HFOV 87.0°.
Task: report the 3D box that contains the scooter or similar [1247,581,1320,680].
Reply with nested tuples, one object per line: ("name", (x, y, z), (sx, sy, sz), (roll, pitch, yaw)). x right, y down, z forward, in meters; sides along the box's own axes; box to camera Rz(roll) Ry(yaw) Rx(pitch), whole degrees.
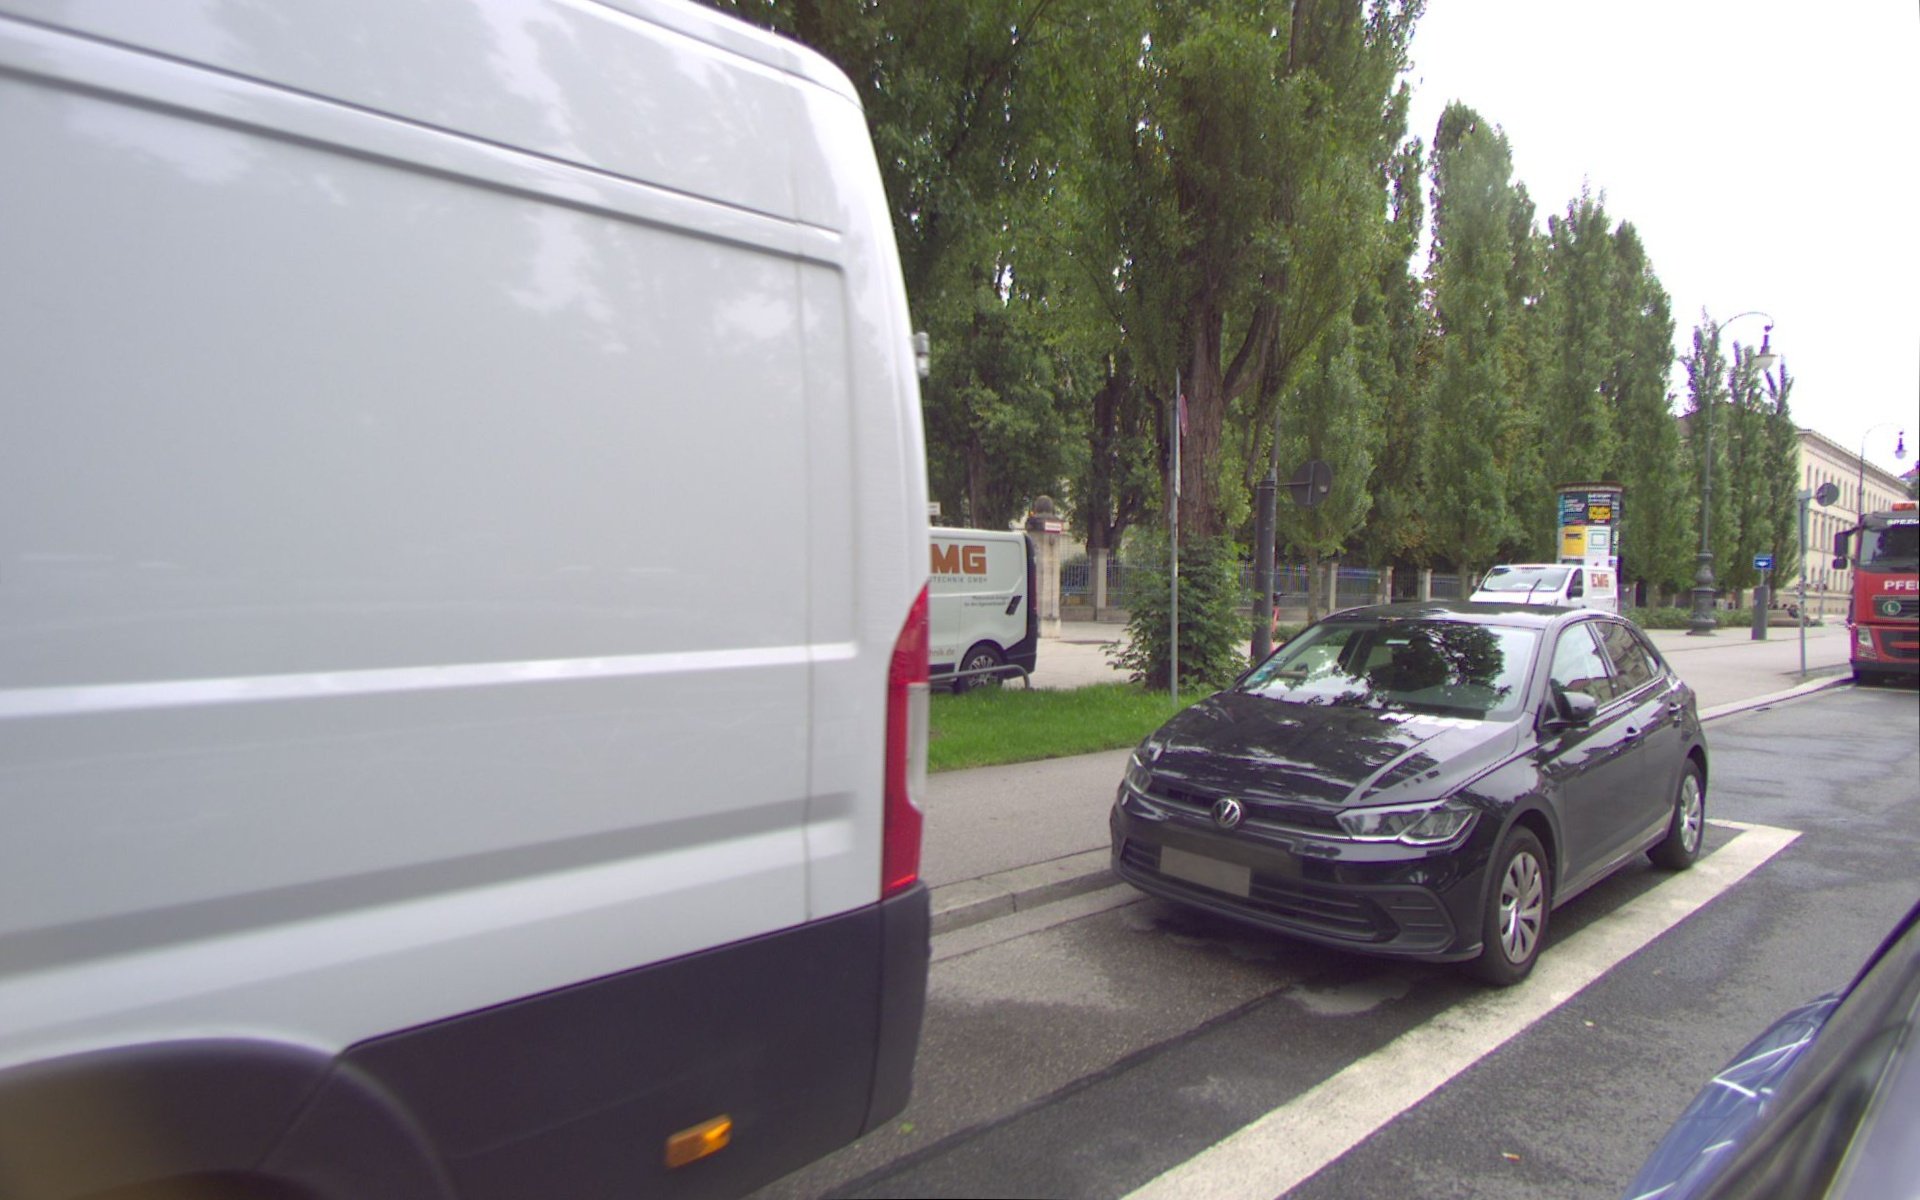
("scooter or similar", (4.360, 0.394, 13.612), (1.164, 1.281, 0.337), (0, 1, -40))

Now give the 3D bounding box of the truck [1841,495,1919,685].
("truck", (20.112, -0.137, 19.780), (10.240, 3.148, 2.720), (0, 2, -40))

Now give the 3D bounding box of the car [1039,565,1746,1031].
("car", (2.407, 0.637, 5.151), (3.929, 1.468, 1.757), (0, -1, -41))

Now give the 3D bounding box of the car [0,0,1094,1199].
("car", (-2.747, 0.035, 0.846), (6.172, 2.510, 2.078), (0, 0, -41))

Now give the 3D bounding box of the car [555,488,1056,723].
("car", (-1.457, 0.014, 10.844), (4.992, 1.970, 1.998), (0, 1, -40))

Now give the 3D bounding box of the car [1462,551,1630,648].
("car", (13.260, -0.012, 22.782), (4.800, 1.969, 1.883), (0, 0, -42))

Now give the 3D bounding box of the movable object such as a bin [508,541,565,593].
("movable object such as a bin", (-18.639, -1.451, 44.472), (1.406, 2.167, 3.679), (1, 1, -37))
